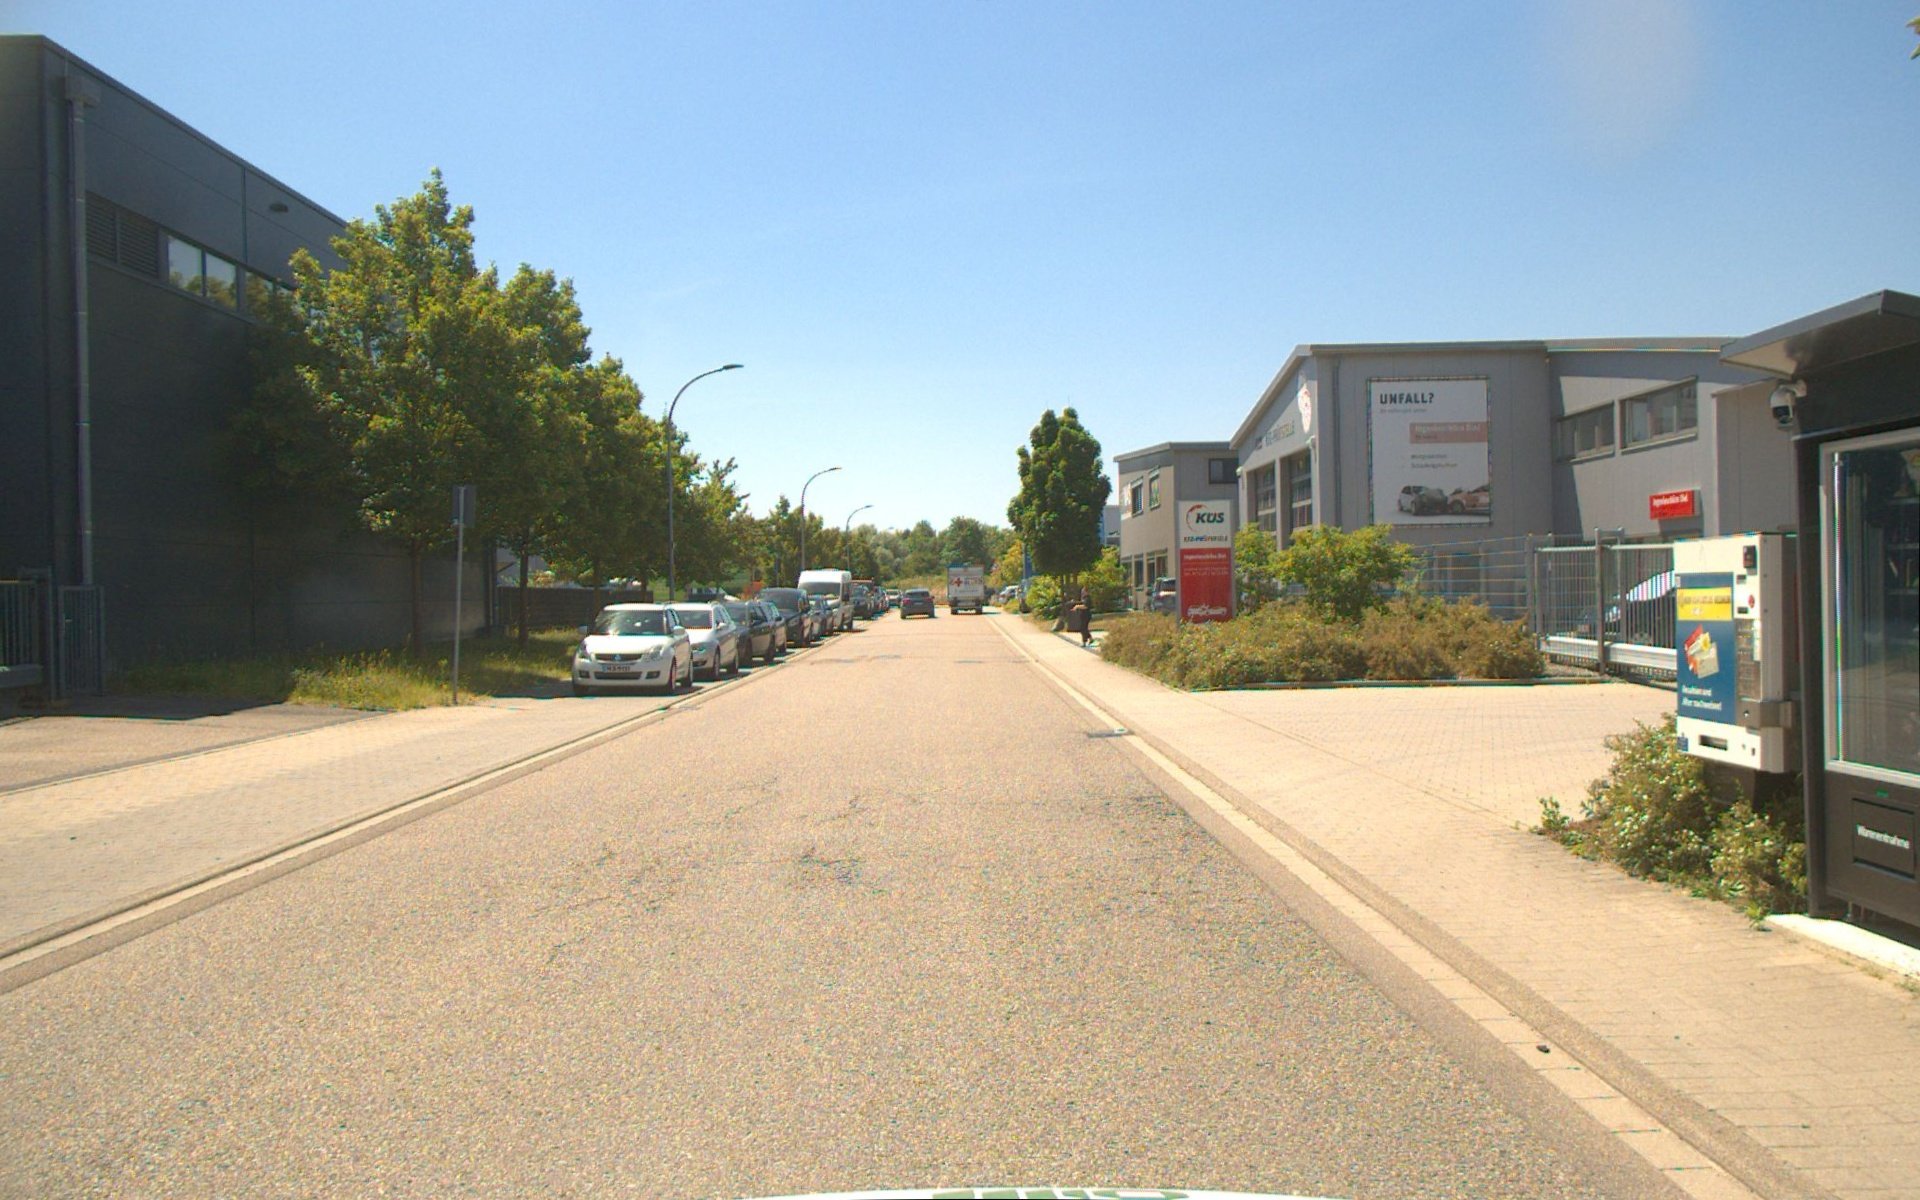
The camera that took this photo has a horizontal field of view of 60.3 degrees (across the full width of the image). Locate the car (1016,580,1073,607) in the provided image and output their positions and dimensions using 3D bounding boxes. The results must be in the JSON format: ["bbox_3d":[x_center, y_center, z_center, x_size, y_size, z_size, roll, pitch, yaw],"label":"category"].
[{"bbox_3d":[5.817,-0.423,114.327,3.798,1.780,1.751,1,0,-3],"label":"car"}]

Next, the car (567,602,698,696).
[{"bbox_3d":[-5.634,0.798,28.864,1.686,1.502,3.855,0,0,-3],"label":"car"}]

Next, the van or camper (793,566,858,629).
[{"bbox_3d":[-5.612,-0.100,69.756,2.035,2.526,6.132,1,0,2],"label":"van or camper"}]

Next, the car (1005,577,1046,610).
[{"bbox_3d":[3.721,-0.375,94.885,1.954,1.835,4.137,-1,0,-3],"label":"car"}]

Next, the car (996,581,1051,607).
[{"bbox_3d":[4.564,-0.454,119.146,3.798,1.780,1.751,1,0,-3],"label":"car"}]

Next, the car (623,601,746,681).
[{"bbox_3d":[-5.609,0.791,34.176,1.762,1.502,4.554,0,0,0],"label":"car"}]

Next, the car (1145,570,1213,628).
[{"bbox_3d":[7.314,-0.015,55.634,1.748,1.814,4.906,-2,-1,2],"label":"car"}]

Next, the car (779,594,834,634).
[{"bbox_3d":[-5.849,0.503,63.272,1.762,1.475,4.251,0,0,-1],"label":"car"}]

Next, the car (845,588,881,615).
[{"bbox_3d":[-5.722,0.065,97.551,1.762,1.513,4.253,0,1,1],"label":"car"}]

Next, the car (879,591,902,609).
[{"bbox_3d":[-6.145,-0.043,147.192,1.762,1.513,4.253,0,1,1],"label":"car"}]

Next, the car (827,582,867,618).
[{"bbox_3d":[-6.120,0.001,89.624,1.762,1.881,4.253,0,1,1],"label":"car"}]

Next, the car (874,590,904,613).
[{"bbox_3d":[-4.821,0.079,112.706,1.762,1.513,4.253,0,1,1],"label":"car"}]

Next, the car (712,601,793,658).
[{"bbox_3d":[-5.782,0.778,46.444,1.762,1.502,4.587,0,0,-1],"label":"car"}]

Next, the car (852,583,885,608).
[{"bbox_3d":[-5.679,-0.277,102.963,1.762,1.513,4.253,0,1,1],"label":"car"}]

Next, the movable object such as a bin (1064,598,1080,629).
[{"bbox_3d":[3.942,0.467,58.191,0.520,1.071,0.845,-1,0,1],"label":"movable object such as a bin"}]

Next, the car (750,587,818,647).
[{"bbox_3d":[-5.568,0.513,52.803,1.762,1.846,4.251,0,0,-1],"label":"car"}]

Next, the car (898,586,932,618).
[{"bbox_3d":[-2.414,0.116,90.309,1.753,1.652,3.808,1,0,-1],"label":"car"}]

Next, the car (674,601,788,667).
[{"bbox_3d":[-5.542,0.782,40.557,1.761,1.502,4.640,0,0,5],"label":"car"}]

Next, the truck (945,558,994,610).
[{"bbox_3d":[0.555,-0.930,101.337,2.873,3.026,6.419,1,0,0],"label":"truck"}]

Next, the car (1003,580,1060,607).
[{"bbox_3d":[5.028,-0.442,116.603,3.798,1.780,1.751,1,0,-3],"label":"car"}]

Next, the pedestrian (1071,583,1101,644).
[{"bbox_3d":[3.484,0.367,45.702,0.492,1.641,0.710,-5,0,-17],"label":"pedestrian"}]

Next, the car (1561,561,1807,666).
[{"bbox_3d":[12.557,0.228,28.820,3.538,1.706,1.702,-1,0,-2],"label":"car"}]

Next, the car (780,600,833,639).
[{"bbox_3d":[-5.486,0.681,59.568,1.447,1.320,3.900,0,0,1],"label":"car"}]
